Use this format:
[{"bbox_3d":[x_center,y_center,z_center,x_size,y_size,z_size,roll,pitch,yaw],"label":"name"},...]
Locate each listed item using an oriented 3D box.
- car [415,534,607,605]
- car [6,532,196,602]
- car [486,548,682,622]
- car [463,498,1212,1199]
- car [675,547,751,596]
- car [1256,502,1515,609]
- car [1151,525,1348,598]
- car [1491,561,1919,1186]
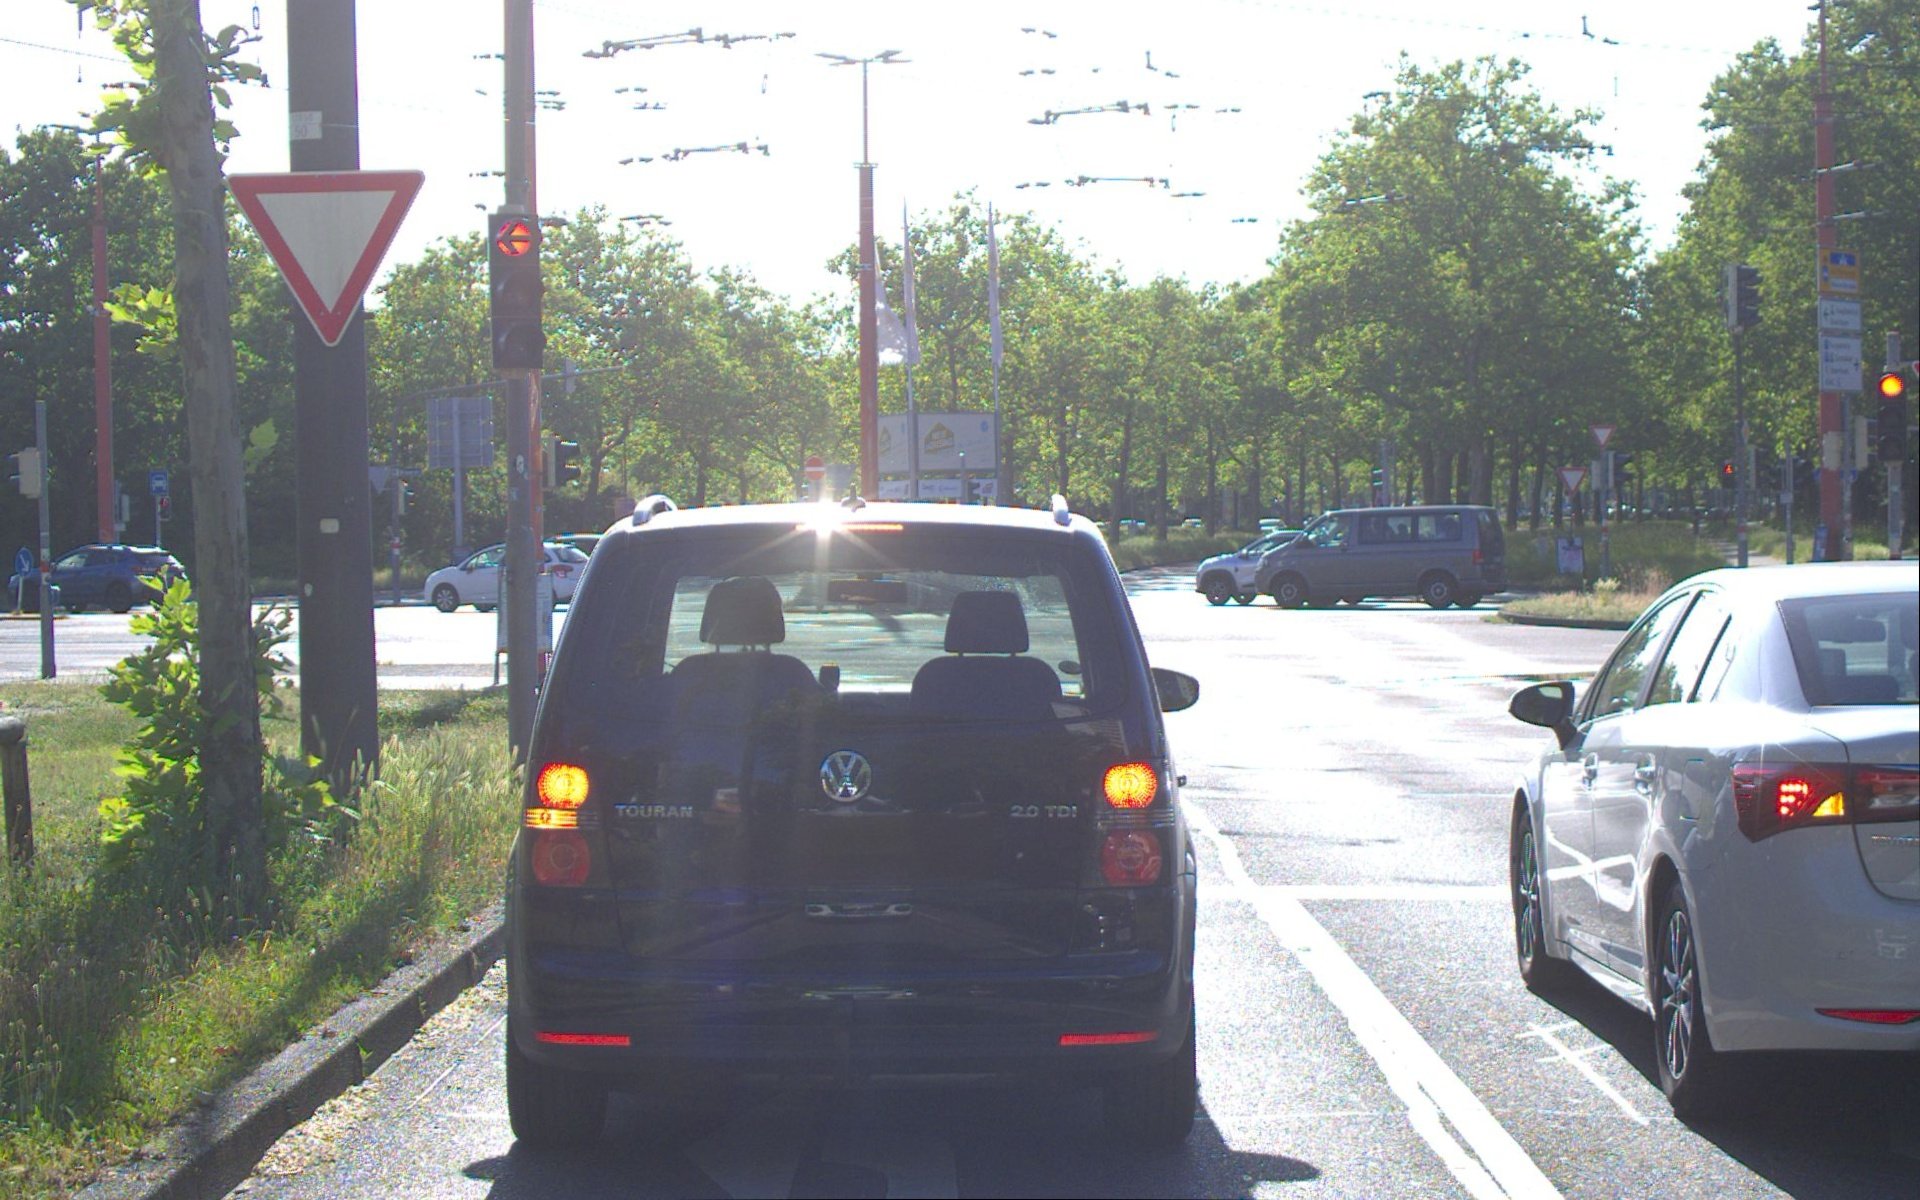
[{"bbox_3d":[-9.757,-0.671,74.662,3.824,1.517,1.693,0,1,25],"label":"car"},{"bbox_3d":[-20.089,-0.782,80.385,4.125,1.592,1.826,0,1,27],"label":"car"},{"bbox_3d":[-8.660,-0.353,79.107,4.125,1.638,1.850,0,1,26],"label":"car"},{"bbox_3d":[-0.309,0.544,9.819,1.700,1.616,3.897,0,1,-1],"label":"car"},{"bbox_3d":[-8.615,-1.003,120.259,1.915,1.630,3.999,1,1,7],"label":"car"},{"bbox_3d":[8.207,-0.861,66.340,4.576,2.007,1.997,0,1,25],"label":"car"},{"bbox_3d":[5.979,-0.798,71.108,3.741,1.468,1.598,0,1,26],"label":"car"},{"bbox_3d":[2.717,0.622,10.107,1.720,1.433,4.198,1,1,1],"label":"car"}]
